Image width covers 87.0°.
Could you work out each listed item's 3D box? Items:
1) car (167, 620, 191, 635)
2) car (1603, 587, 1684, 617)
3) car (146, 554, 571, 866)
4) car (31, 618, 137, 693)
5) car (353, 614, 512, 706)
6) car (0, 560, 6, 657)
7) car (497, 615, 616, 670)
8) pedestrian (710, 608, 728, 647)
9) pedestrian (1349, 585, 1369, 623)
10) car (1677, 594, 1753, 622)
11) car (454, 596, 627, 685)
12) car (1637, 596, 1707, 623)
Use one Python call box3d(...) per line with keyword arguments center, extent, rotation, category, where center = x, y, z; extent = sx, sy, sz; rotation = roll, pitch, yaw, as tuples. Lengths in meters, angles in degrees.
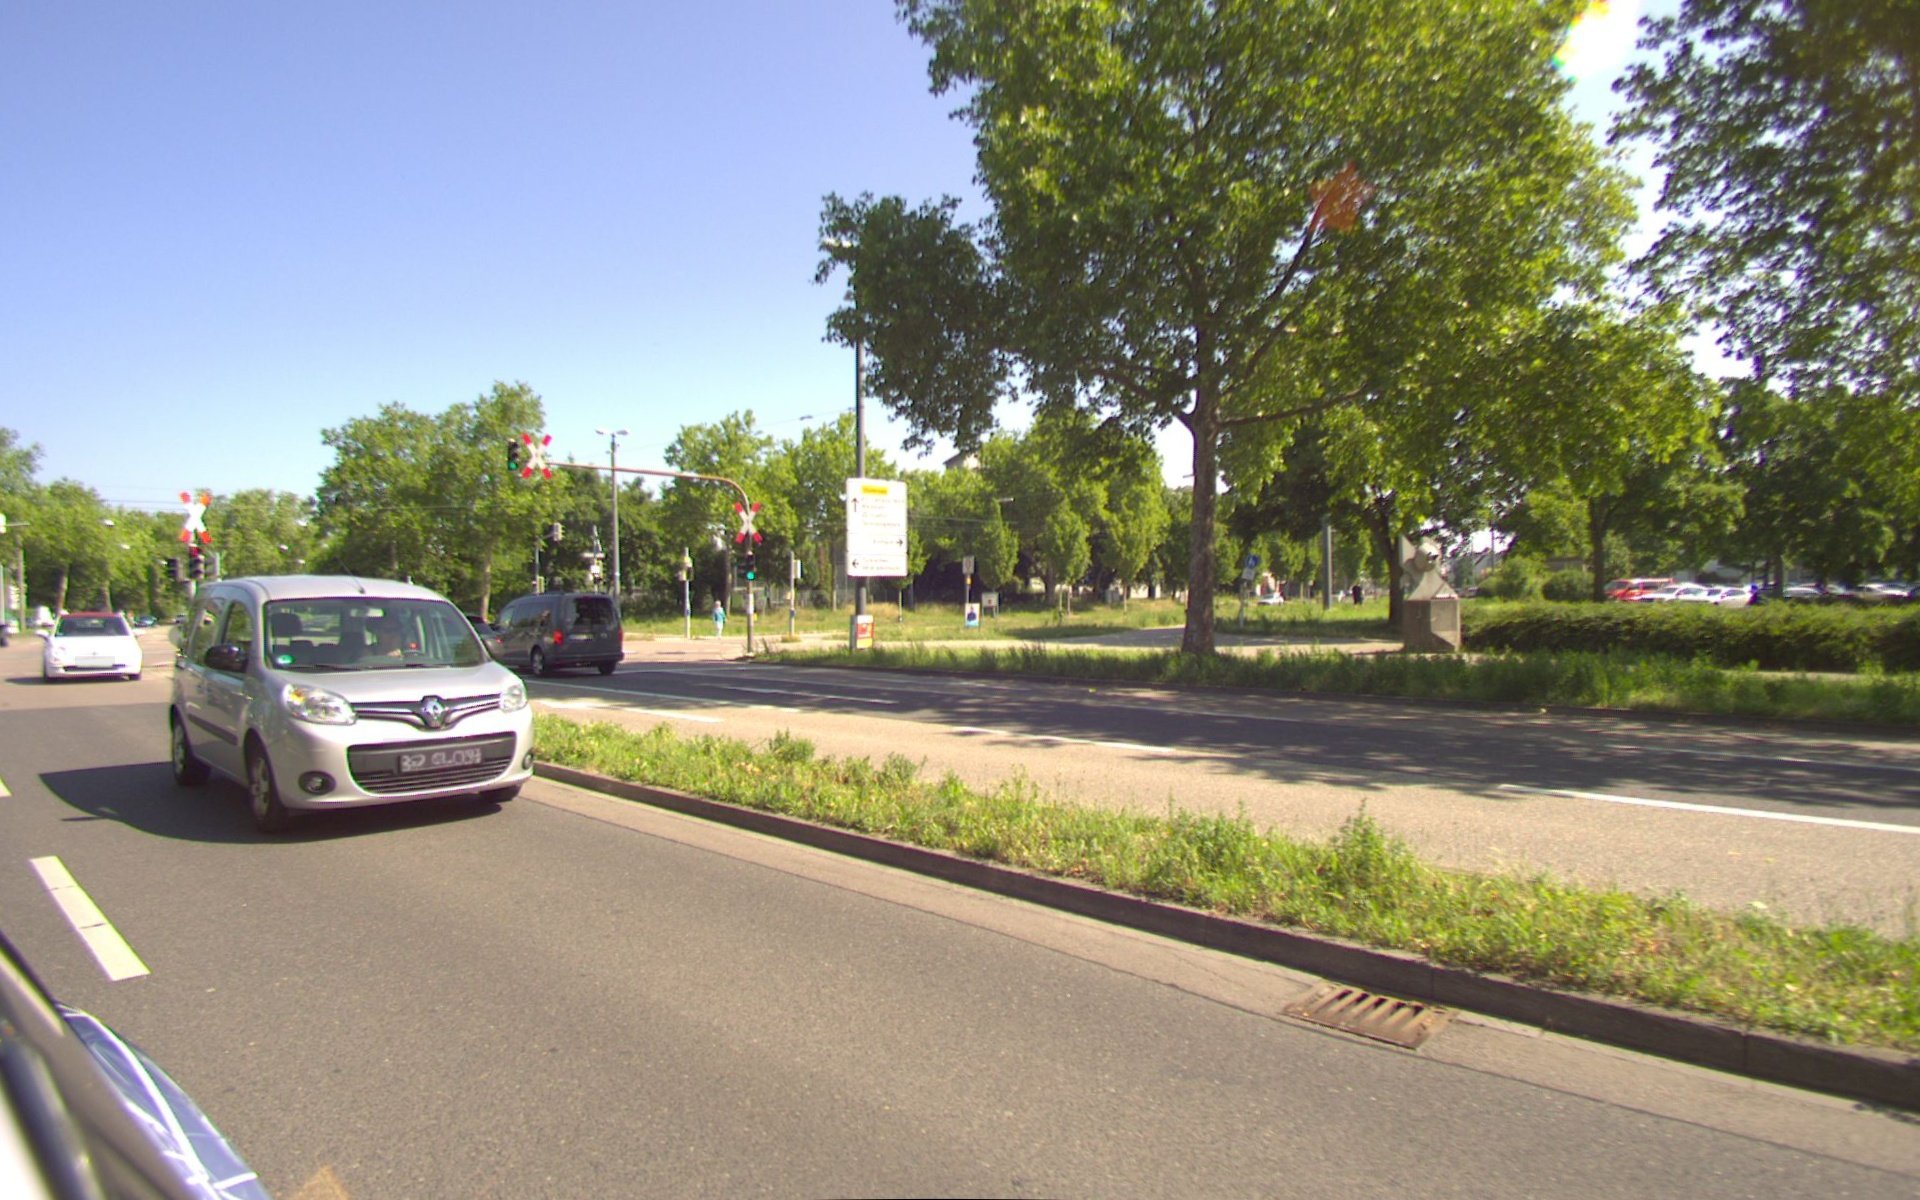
box3d(center=(-112.925, 3.953, 146.399), extent=(1.965, 2.029, 4.013), rotation=(-1, -1, -26), category="car")
box3d(center=(40.919, 0.142, 60.628), extent=(3.921, 1.715, 1.820), rotation=(-1, 0, -13), category="car")
box3d(center=(-5.056, 0.699, 8.220), extent=(4.376, 1.854, 1.851), rotation=(-1, -2, 44), category="car")
box3d(center=(-19.693, 1.188, 22.740), extent=(1.664, 1.502, 4.381), rotation=(0, -1, -42), category="car")
box3d(center=(-10.083, 1.065, 19.194), extent=(1.673, 1.519, 4.134), rotation=(0, -1, -42), category="car")
box3d(center=(-39.454, 0.328, 39.452), extent=(2.859, 3.950, 7.153), rotation=(0, -1, -40), category="car")
box3d(center=(-12.727, 1.326, 31.784), extent=(4.432, 1.601, 1.690), rotation=(-2, -3, 42), category="car")
box3d(center=(-9.846, 1.135, 41.350), extent=(0.659, 1.573, 0.366), rotation=(-1, -1, -1), category="pedestrian")
box3d(center=(21.688, 0.222, 55.008), extent=(0.784, 2.029, 0.712), rotation=(0, -2, -45), category="pedestrian")
box3d(center=(40.743, 0.415, 54.607), extent=(3.286, 1.457, 1.452), rotation=(-1, 0, -13), category="car")
box3d(center=(-9.773, 0.924, 23.369), extent=(4.992, 1.853, 1.668), rotation=(-2, -2, 41), category="car")
box3d(center=(40.350, 0.509, 57.396), extent=(3.286, 1.457, 1.352), rotation=(-1, 0, -13), category="car")
